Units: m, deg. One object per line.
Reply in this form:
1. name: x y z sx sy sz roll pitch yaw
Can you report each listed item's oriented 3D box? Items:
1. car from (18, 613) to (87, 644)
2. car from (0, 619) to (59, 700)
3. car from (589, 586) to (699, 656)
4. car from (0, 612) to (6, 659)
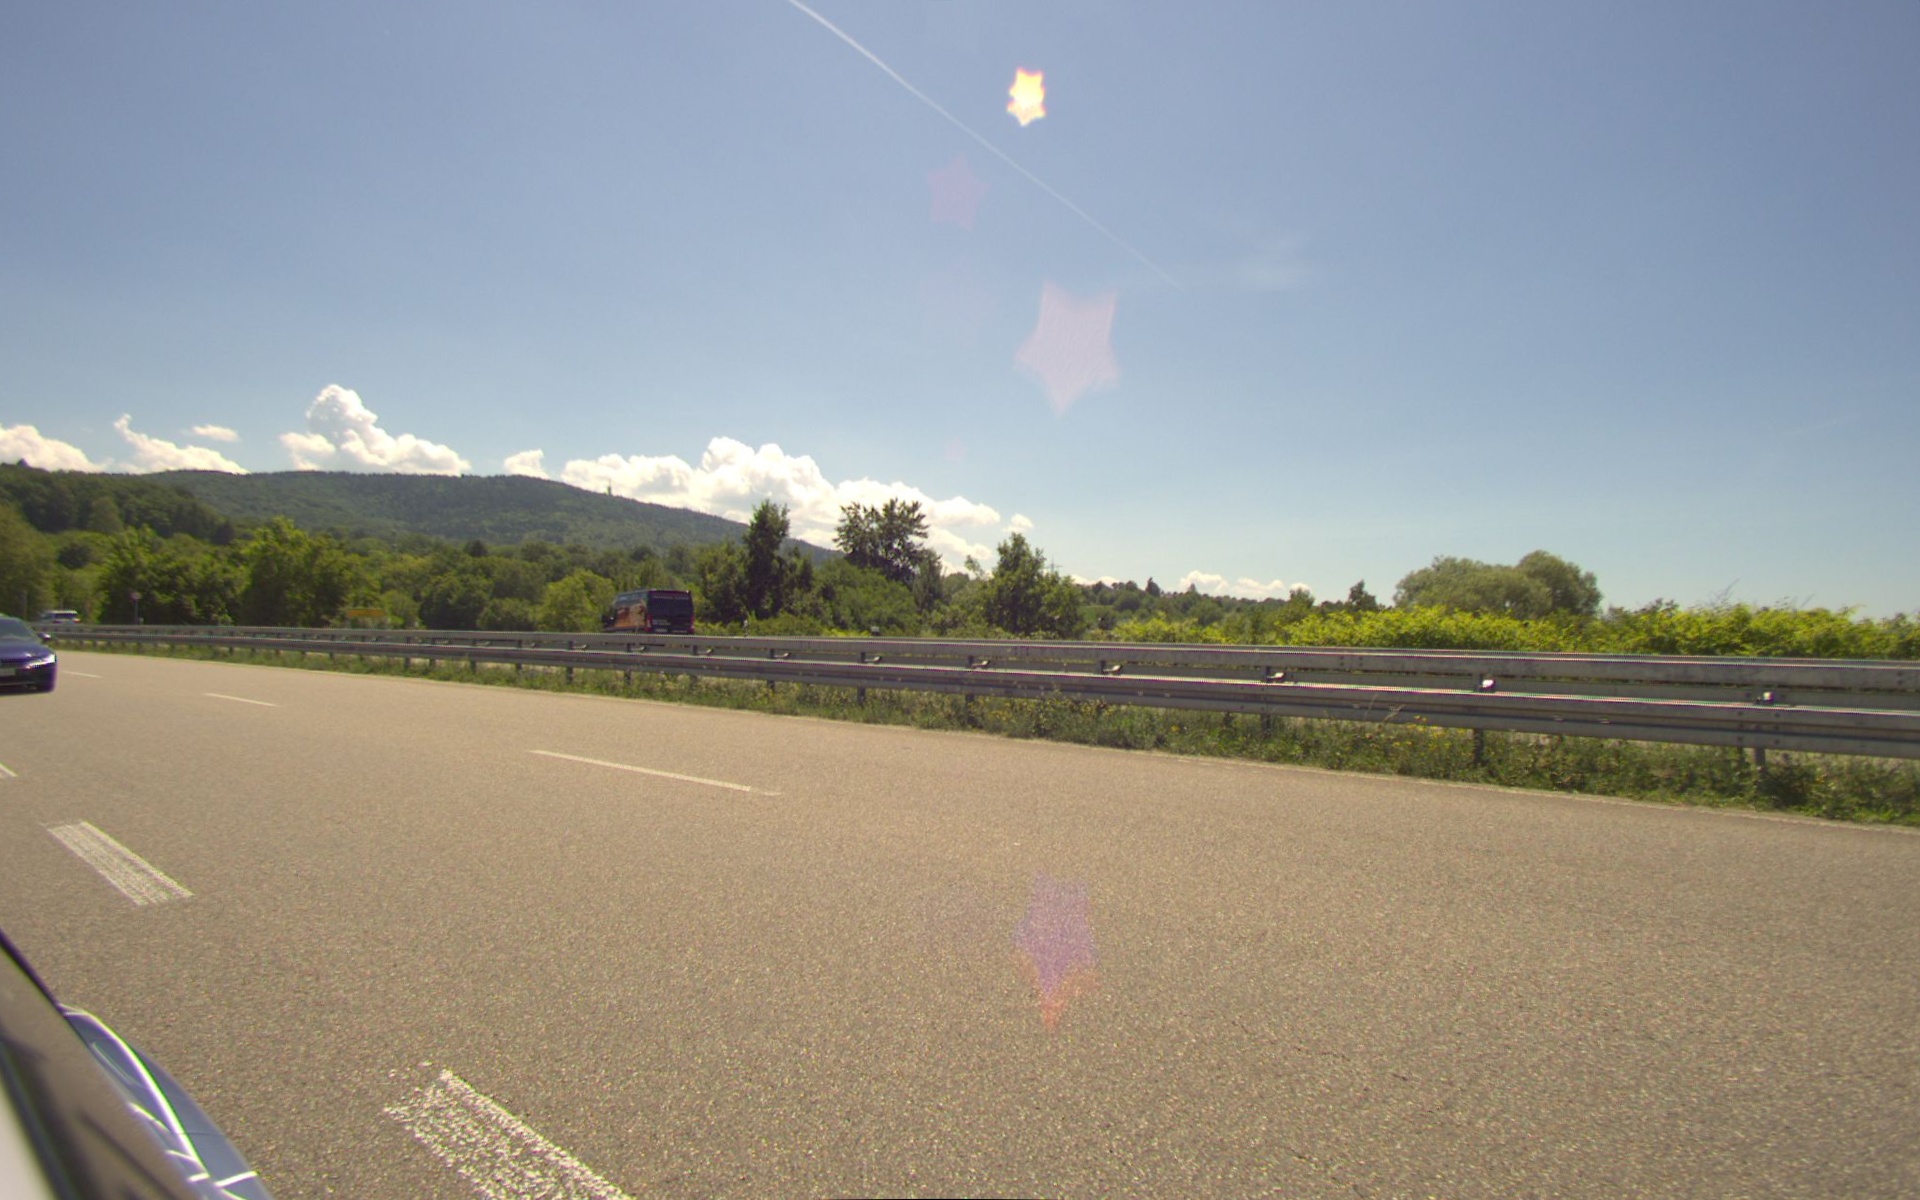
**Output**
1. car: -61.667 1.926 68.772 4.895 1.907 2.187 1 -1 32
2. car: -18.757 1.093 19.226 4.466 1.418 1.823 -1 -1 40
3. car: -13.038 0.821 41.495 2.177 2.657 5.634 2 -1 -41
4. car: -36.322 1.370 36.776 4.548 1.680 1.776 -3 -1 38
